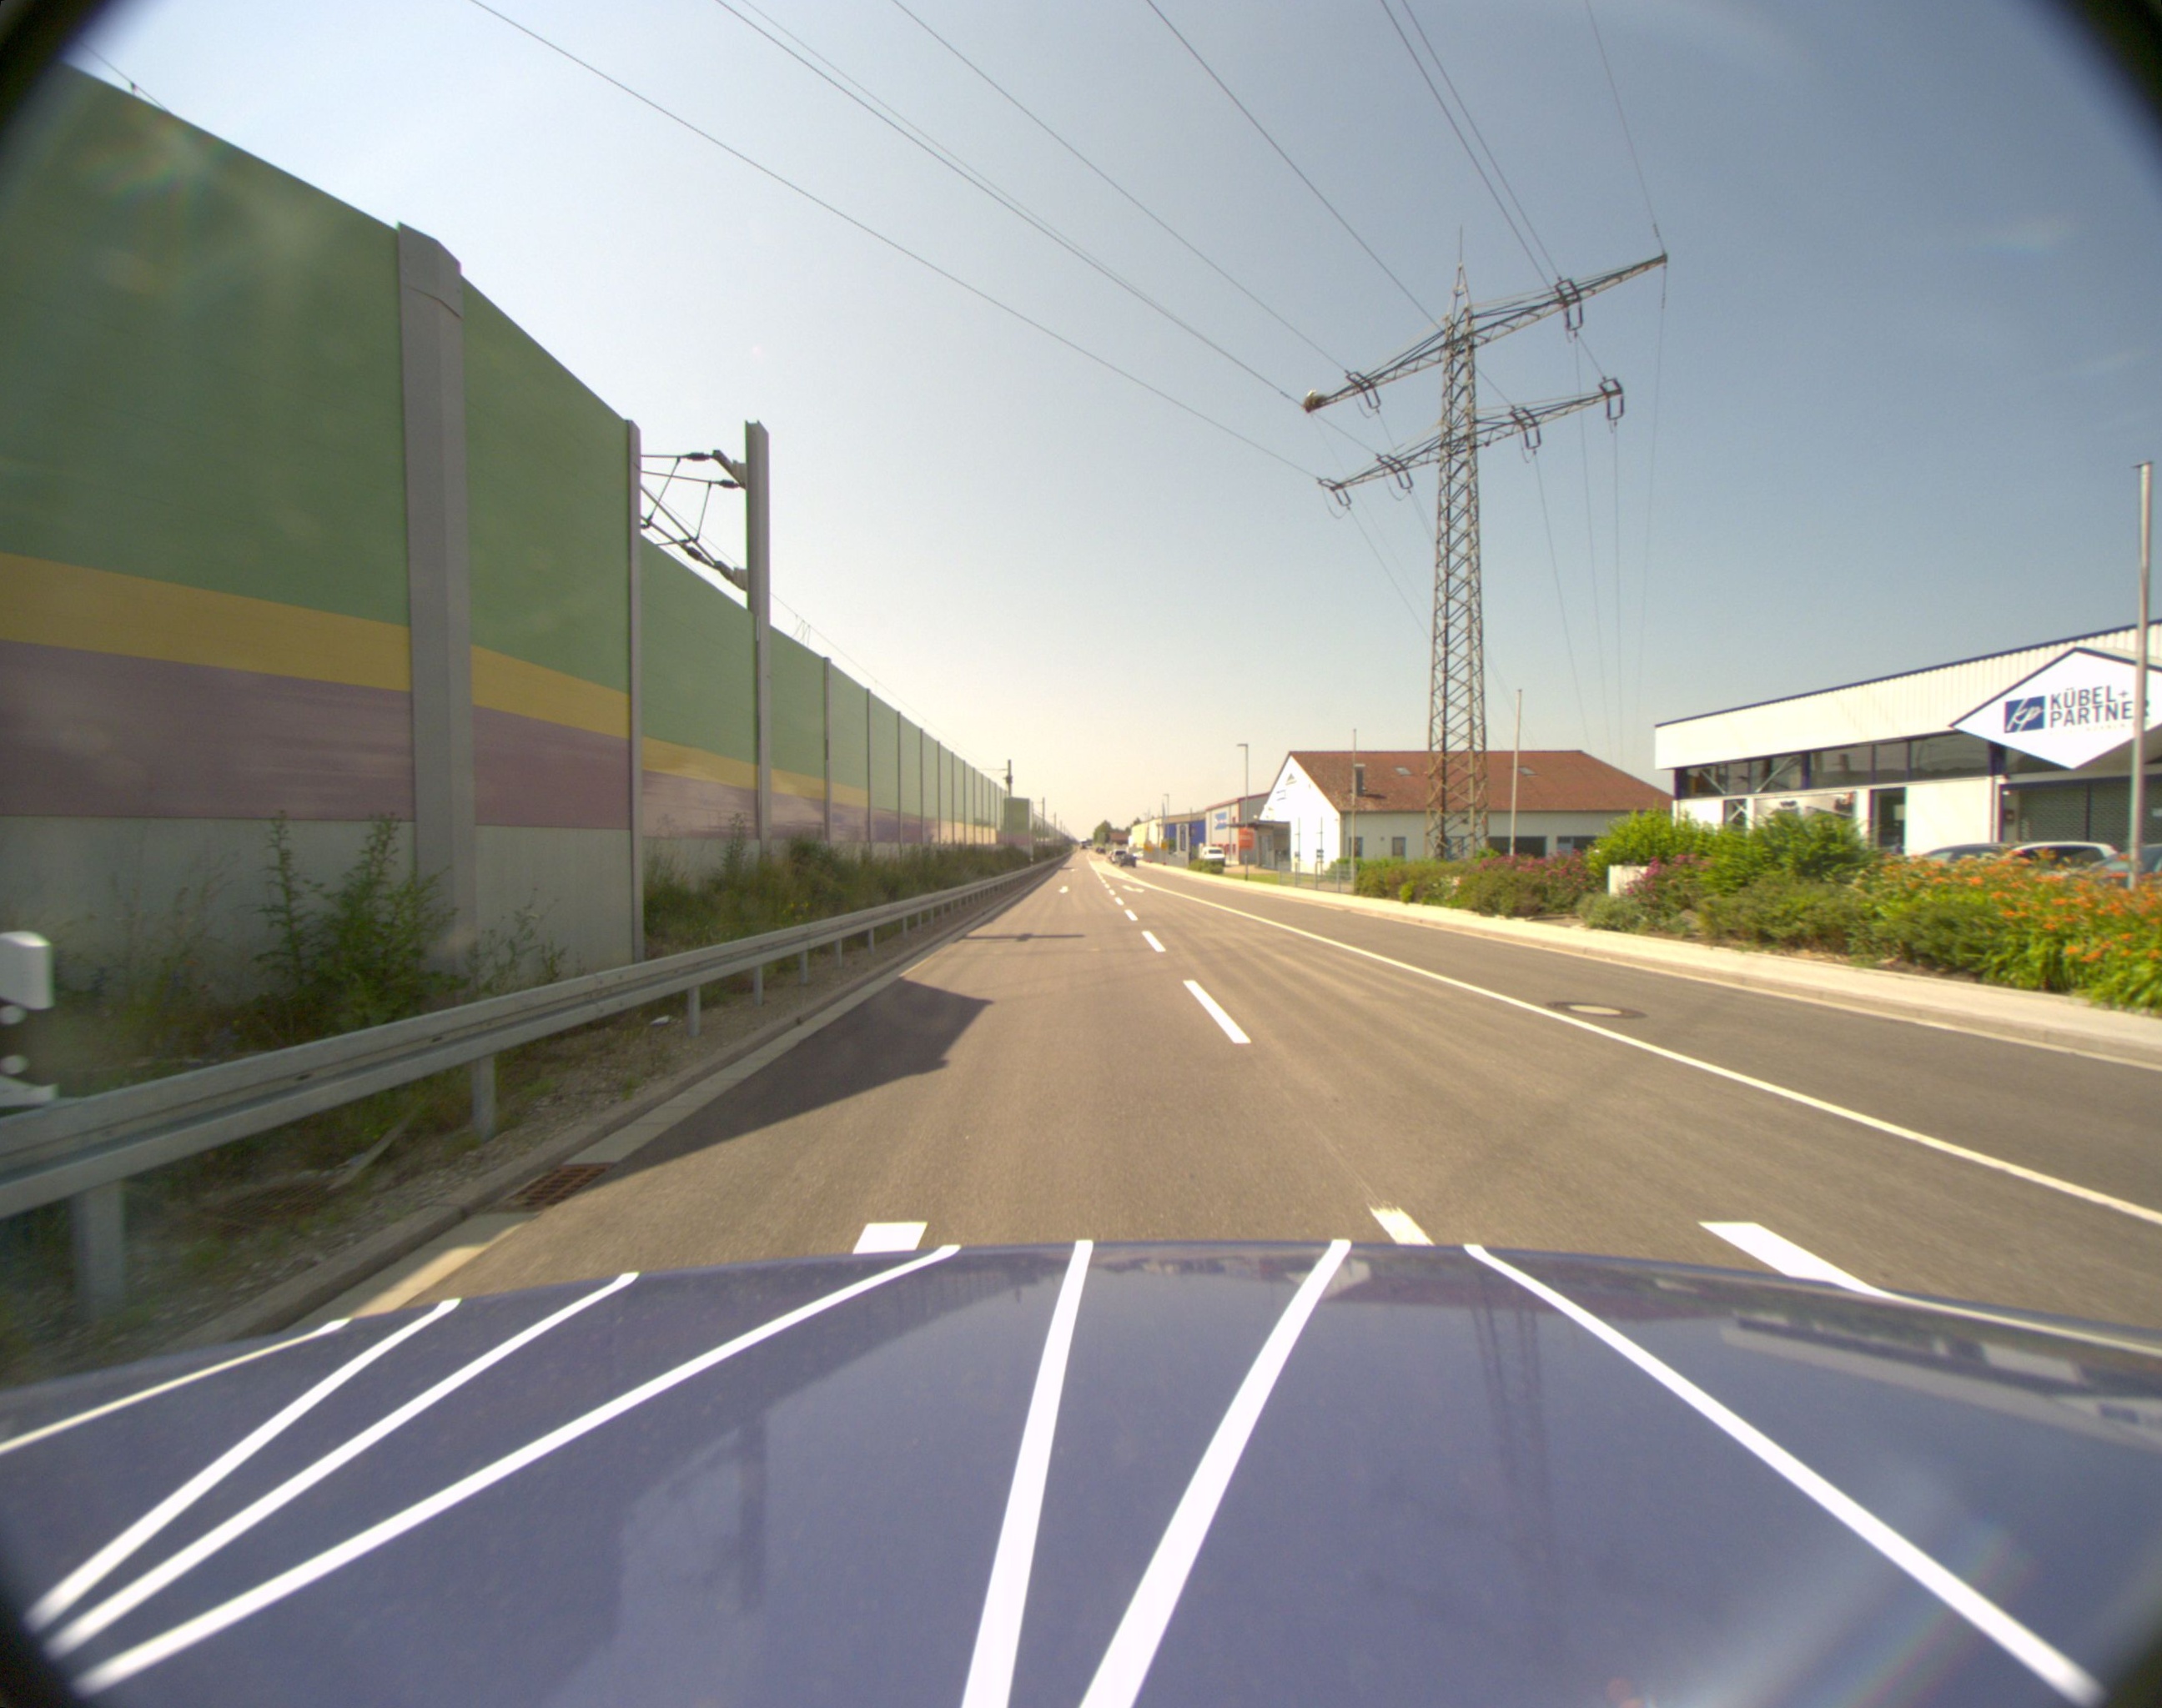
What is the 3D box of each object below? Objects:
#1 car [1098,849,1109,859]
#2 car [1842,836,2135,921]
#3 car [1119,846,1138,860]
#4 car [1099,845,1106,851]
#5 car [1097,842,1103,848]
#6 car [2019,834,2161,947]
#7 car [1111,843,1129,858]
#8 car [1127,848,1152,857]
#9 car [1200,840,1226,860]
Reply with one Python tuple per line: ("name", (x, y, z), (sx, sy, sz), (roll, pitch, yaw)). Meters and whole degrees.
("car", (3.551, -0.047, 121.128), (1.673, 1.591, 3.972), (2, 1, 0))
("car", (16.159, 0.405, 13.645), (3.518, 1.247, 1.504), (-3, 1, -1))
("car", (5.048, -0.080, 81.254), (1.675, 1.415, 3.999), (1, 1, 0))
("car", (5.565, -1.603, 197.699), (1.886, 1.607, 4.522), (2, 1, 2))
("car", (5.434, -2.529, 220.313), (1.746, 1.585, 3.795), (1, 1, 0))
("car", (16.490, 0.501, 10.802), (3.998, 1.520, 1.999), (0, 1, -3))
("car", (5.184, -0.431, 100.622), (1.999, 1.863, 5.167), (1, 1, -1))
("car", (10.450, -0.303, 135.691), (4.151, 1.494, 1.778), (0, 0, 28))
("car", (13.846, -0.426, 79.837), (1.998, 2.002, 4.679), (0, 2, 1))
